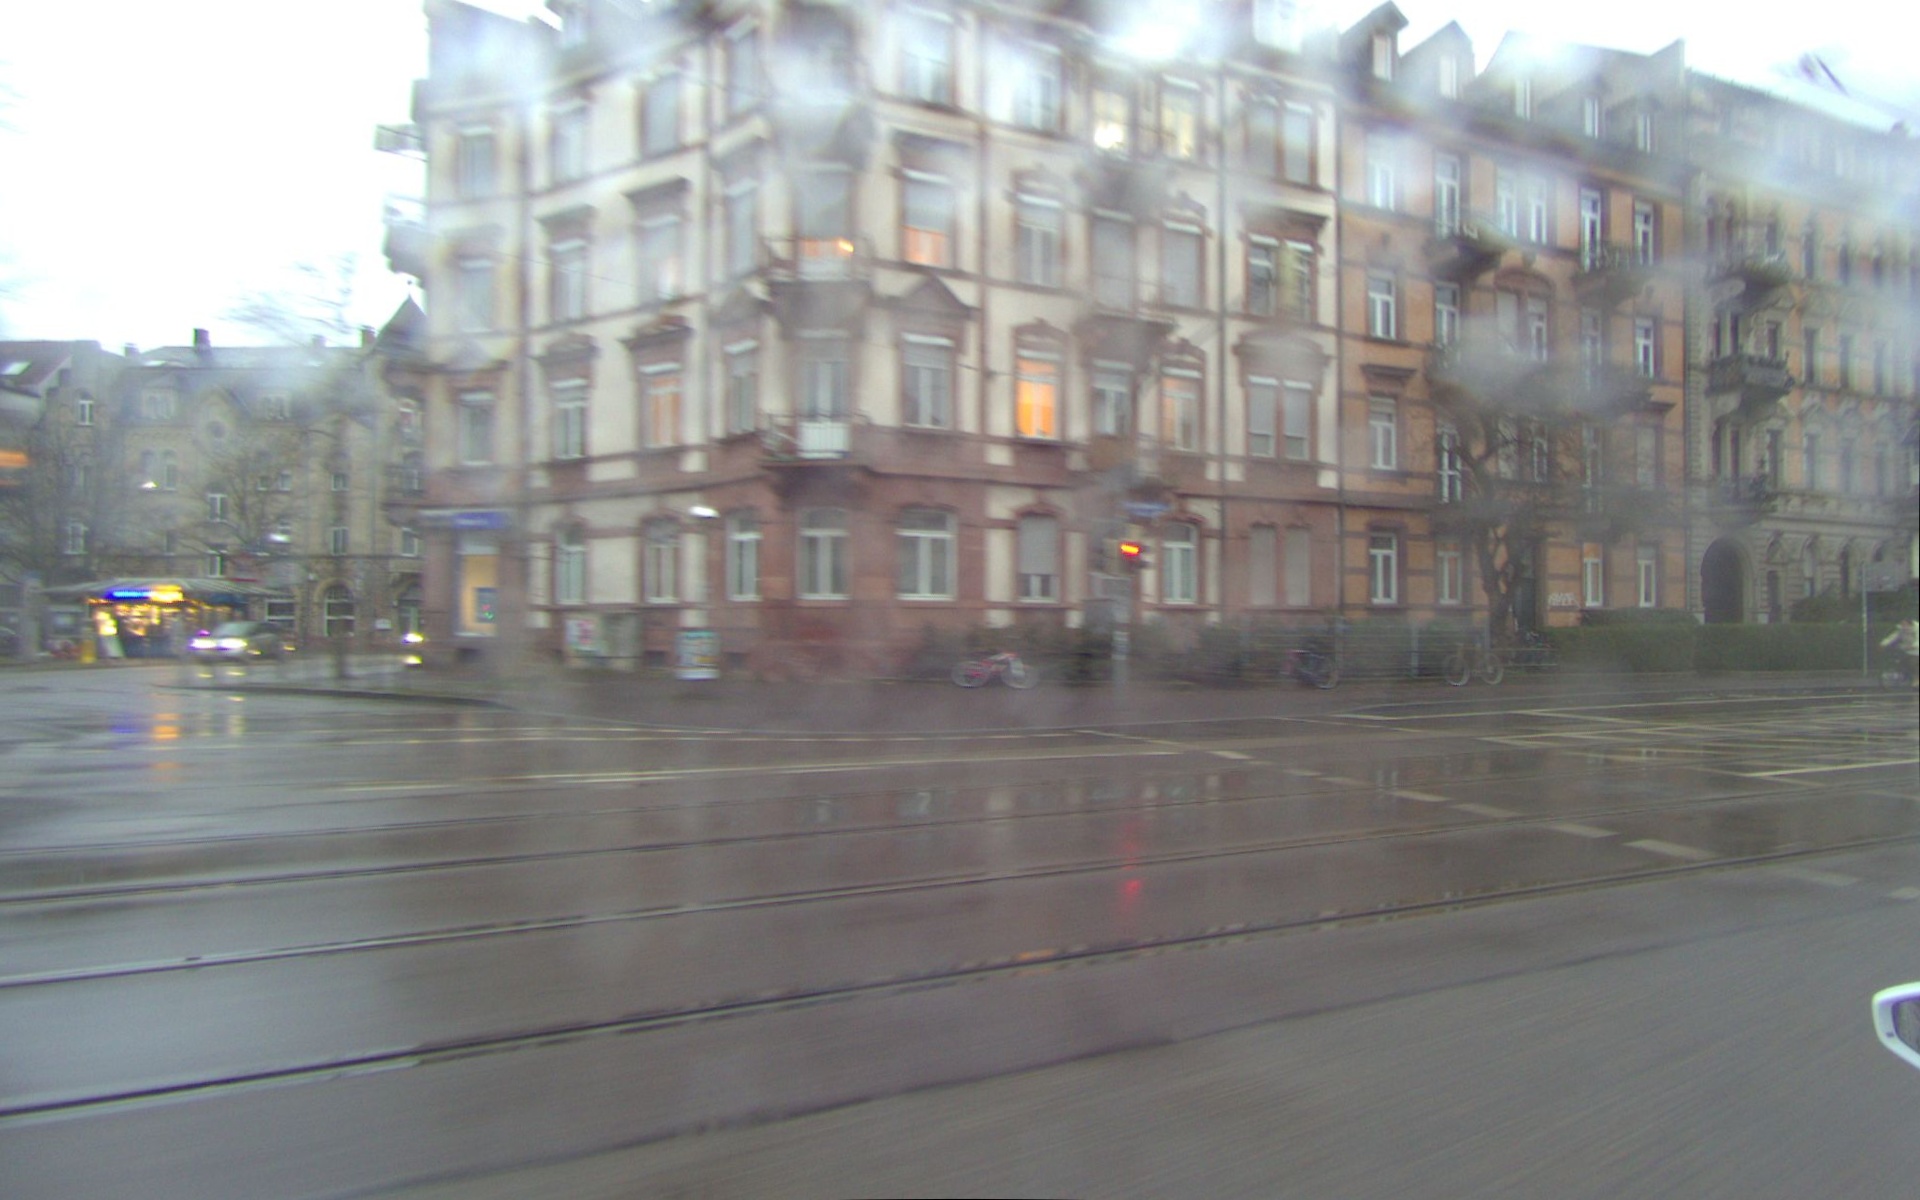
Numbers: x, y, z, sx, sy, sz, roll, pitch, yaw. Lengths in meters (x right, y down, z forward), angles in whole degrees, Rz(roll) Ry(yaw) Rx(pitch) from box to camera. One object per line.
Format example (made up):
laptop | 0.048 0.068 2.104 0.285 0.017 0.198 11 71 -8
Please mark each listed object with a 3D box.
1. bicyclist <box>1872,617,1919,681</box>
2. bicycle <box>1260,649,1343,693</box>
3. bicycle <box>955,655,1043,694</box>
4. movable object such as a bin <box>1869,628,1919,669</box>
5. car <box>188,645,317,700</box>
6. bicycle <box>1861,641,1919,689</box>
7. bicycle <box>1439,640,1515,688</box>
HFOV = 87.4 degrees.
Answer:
bicyclist | 21.284 1.088 22.649 0.930 1.382 0.703 0 1 -21
bicycle | 7.108 1.463 20.890 1.822 0.874 0.399 0 -1 -22
bicycle | 0.806 1.533 20.786 1.774 0.769 0.401 0 -1 14
movable object such as a bin | 28.981 1.480 30.958 0.933 1.223 1.181 0 -1 -25
car | -25.387 2.568 36.218 1.842 1.795 3.864 -1 -2 2
bicycle | 21.253 1.453 22.638 1.776 1.020 0.680 0 -1 -22
bicycle | 11.585 1.415 22.509 1.822 1.020 0.415 0 -1 -22
